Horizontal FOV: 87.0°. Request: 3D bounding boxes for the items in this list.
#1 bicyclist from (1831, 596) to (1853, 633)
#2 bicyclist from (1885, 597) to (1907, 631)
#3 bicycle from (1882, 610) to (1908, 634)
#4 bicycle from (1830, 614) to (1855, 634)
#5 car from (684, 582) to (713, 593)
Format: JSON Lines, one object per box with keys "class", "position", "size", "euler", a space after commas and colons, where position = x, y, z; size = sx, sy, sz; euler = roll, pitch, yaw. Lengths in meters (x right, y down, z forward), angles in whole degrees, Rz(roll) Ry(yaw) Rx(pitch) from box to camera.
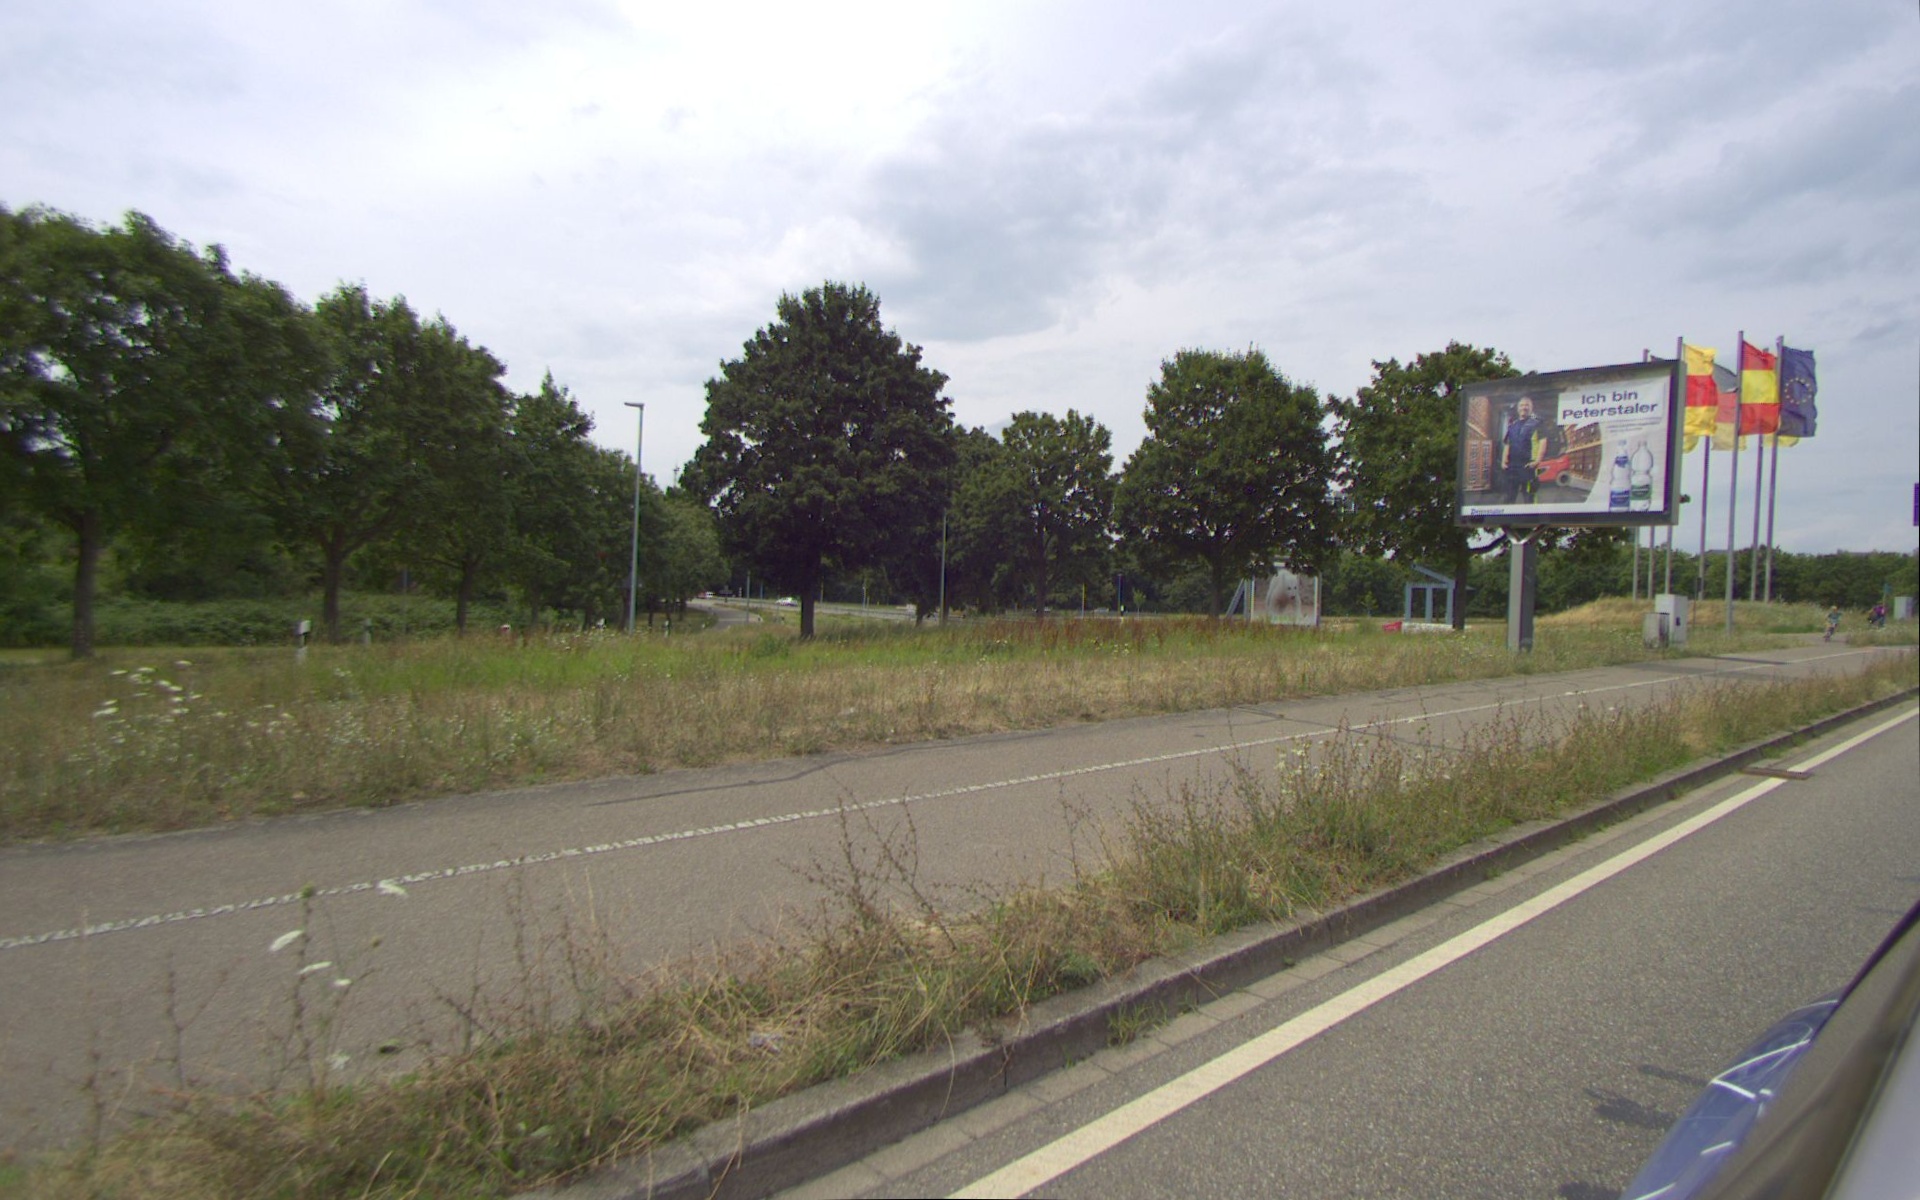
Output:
{"class": "bicyclist", "position": [41.725, 0.665, 47.876], "size": [0.657, 1.686, 0.623], "euler": [2, 2, -41]}
{"class": "bicyclist", "position": [48.789, 0.732, 52.767], "size": [0.974, 1.777, 0.704], "euler": [2, 0, -41]}
{"class": "bicycle", "position": [48.747, 1.145, 52.766], "size": [2.418, 1.207, 0.695], "euler": [1, 1, -41]}
{"class": "bicycle", "position": [41.961, 1.143, 48.134], "size": [2.117, 0.899, 0.624], "euler": [0, 1, -42]}
{"class": "car", "position": [-50.523, -2.398, 195.445], "size": [5.427, 2.039, 1.979], "euler": [2, 0, 30]}
